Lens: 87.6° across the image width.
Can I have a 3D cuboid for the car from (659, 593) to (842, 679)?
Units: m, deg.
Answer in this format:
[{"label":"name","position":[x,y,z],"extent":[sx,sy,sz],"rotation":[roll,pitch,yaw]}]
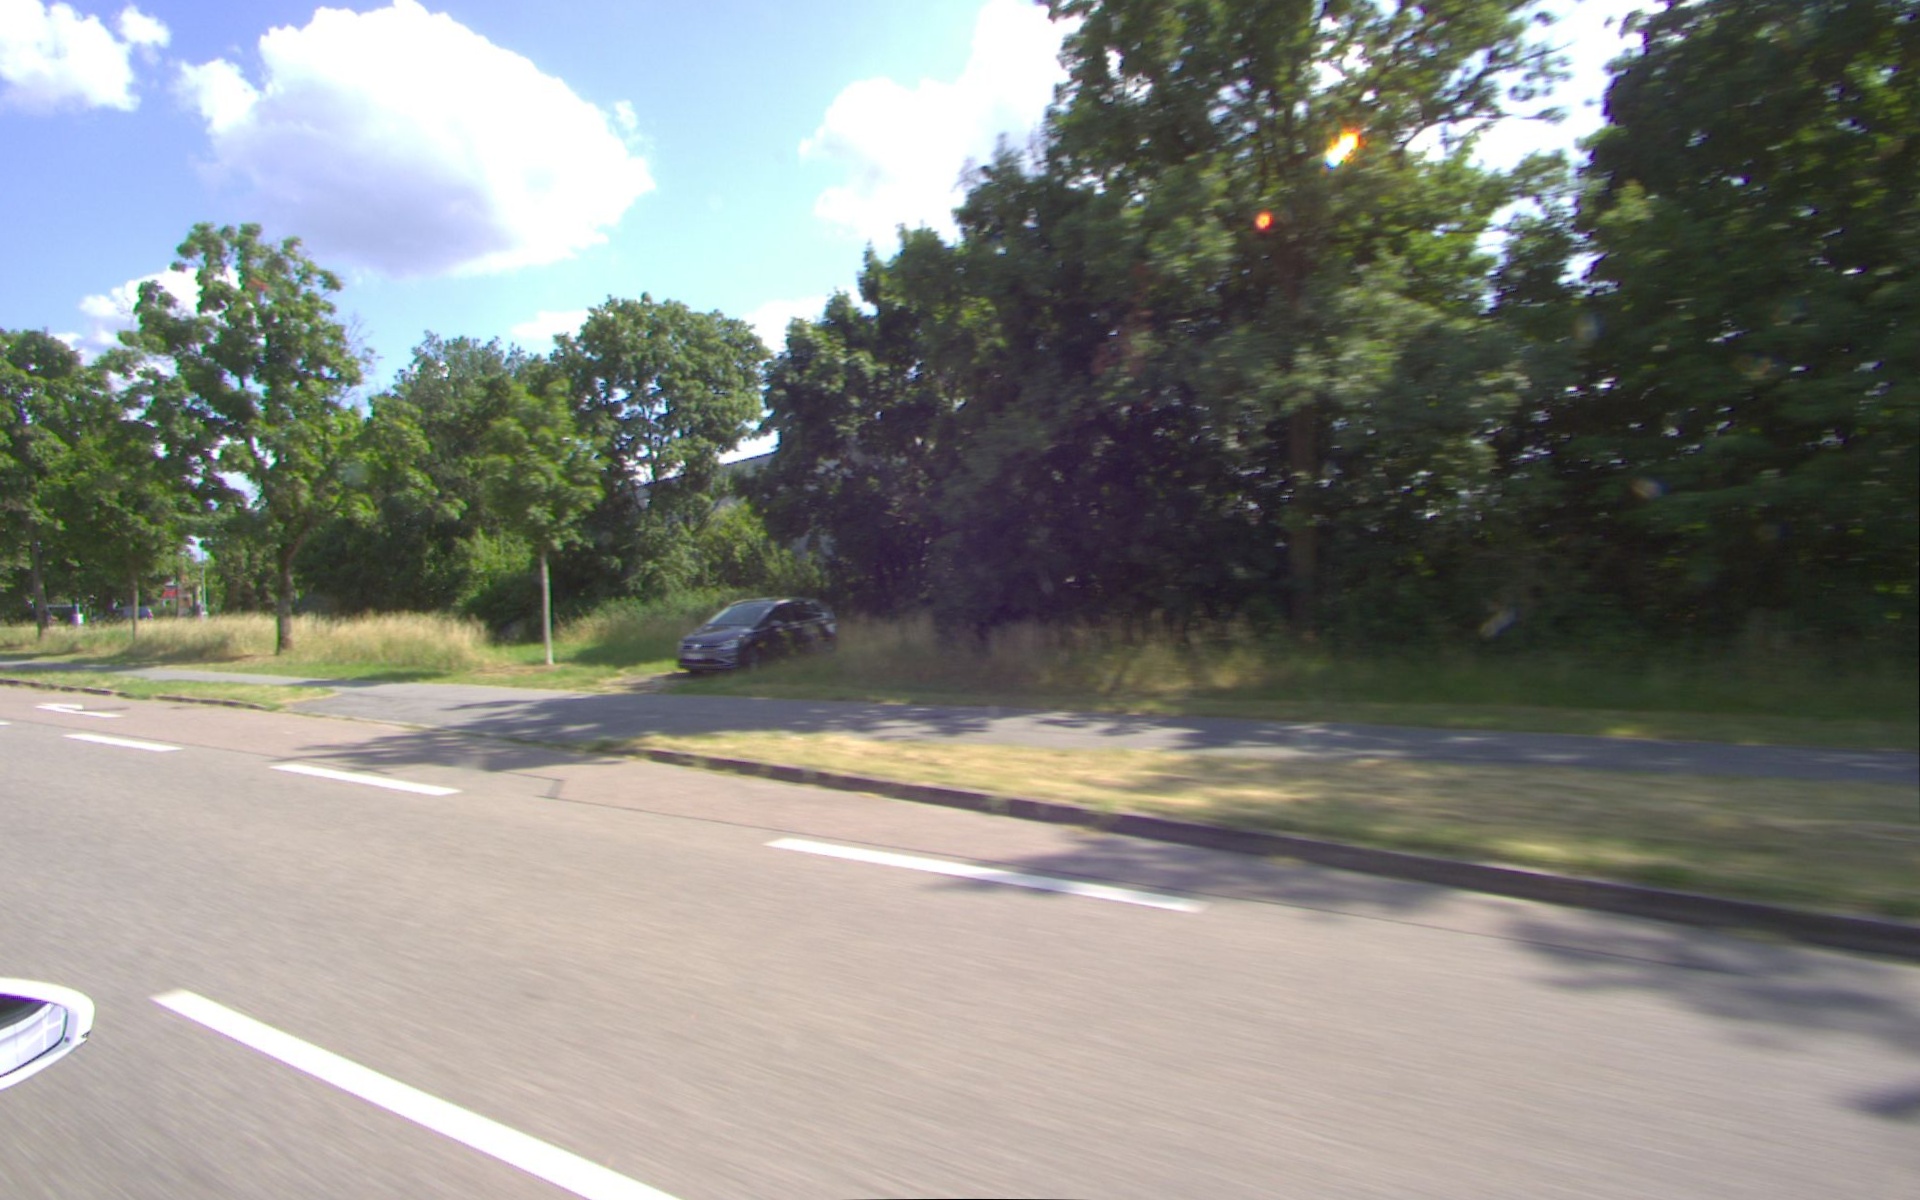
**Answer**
[{"label":"car","position":[-4.488,0.699,22.082],"extent":[1.756,1.514,4.158],"rotation":[1,3,27]}]
